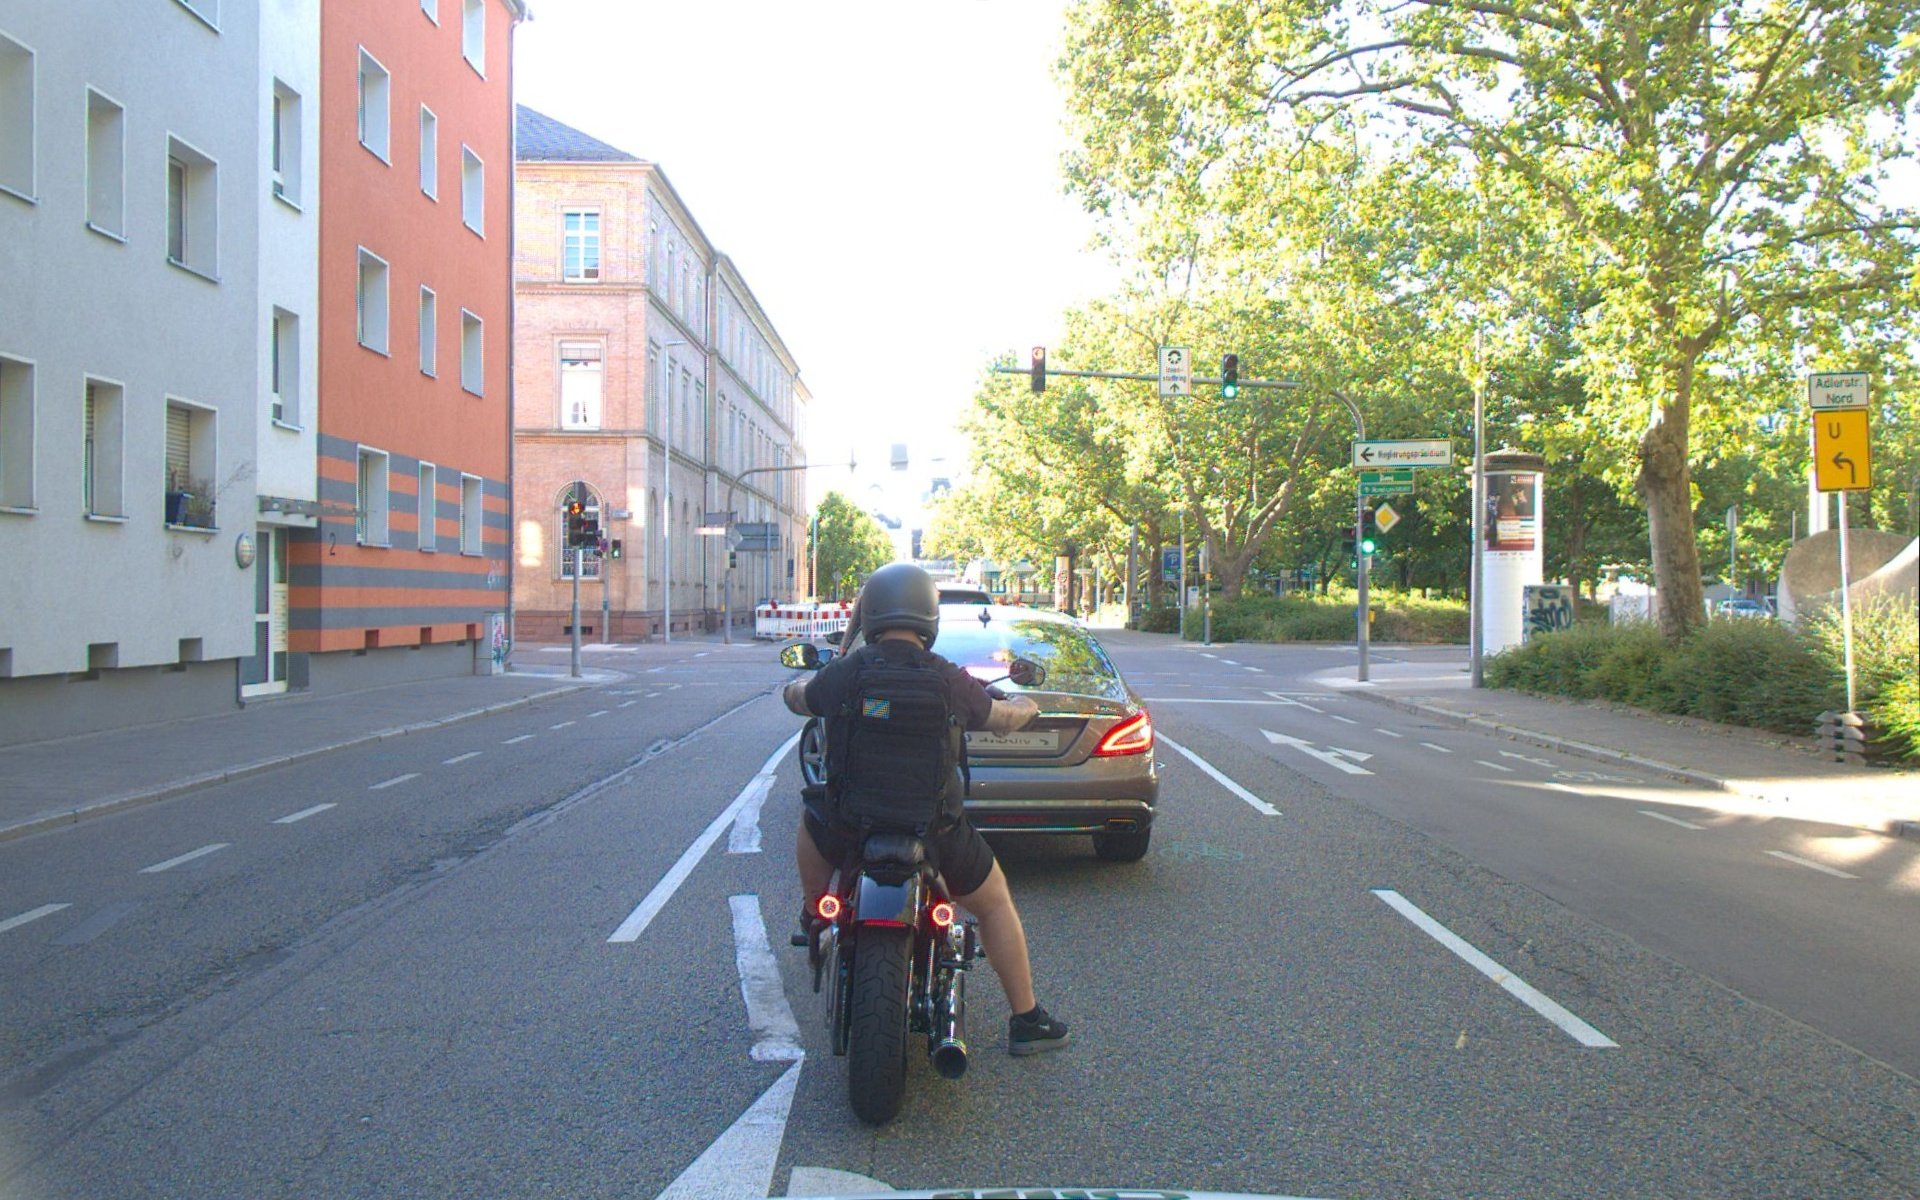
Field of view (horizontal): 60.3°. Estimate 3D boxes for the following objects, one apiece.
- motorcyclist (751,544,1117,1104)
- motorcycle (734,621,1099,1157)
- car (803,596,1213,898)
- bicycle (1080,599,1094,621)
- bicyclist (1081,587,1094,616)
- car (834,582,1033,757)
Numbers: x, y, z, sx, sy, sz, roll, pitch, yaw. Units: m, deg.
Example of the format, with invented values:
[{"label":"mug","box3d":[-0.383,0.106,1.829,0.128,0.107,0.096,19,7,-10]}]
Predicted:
[{"label":"motorcyclist","box3d":[-0.080,0.652,5.257,1.039,1.610,0.908,1,0,-1]},{"label":"motorcycle","box3d":[-0.130,0.777,5.525,0.942,1.380,2.319,1,0,-1]},{"label":"car","box3d":[0.056,0.715,10.353,1.866,1.466,4.280,0,0,-8]},{"label":"bicycle","box3d":[7.185,0.565,93.381,0.701,1.193,2.177,1,0,3]},{"label":"bicyclist","box3d":[7.196,0.093,93.392,0.701,1.610,0.936,1,0,2]},{"label":"car","box3d":[-0.344,0.611,16.756,1.777,1.563,3.846,0,0,-3]}]
